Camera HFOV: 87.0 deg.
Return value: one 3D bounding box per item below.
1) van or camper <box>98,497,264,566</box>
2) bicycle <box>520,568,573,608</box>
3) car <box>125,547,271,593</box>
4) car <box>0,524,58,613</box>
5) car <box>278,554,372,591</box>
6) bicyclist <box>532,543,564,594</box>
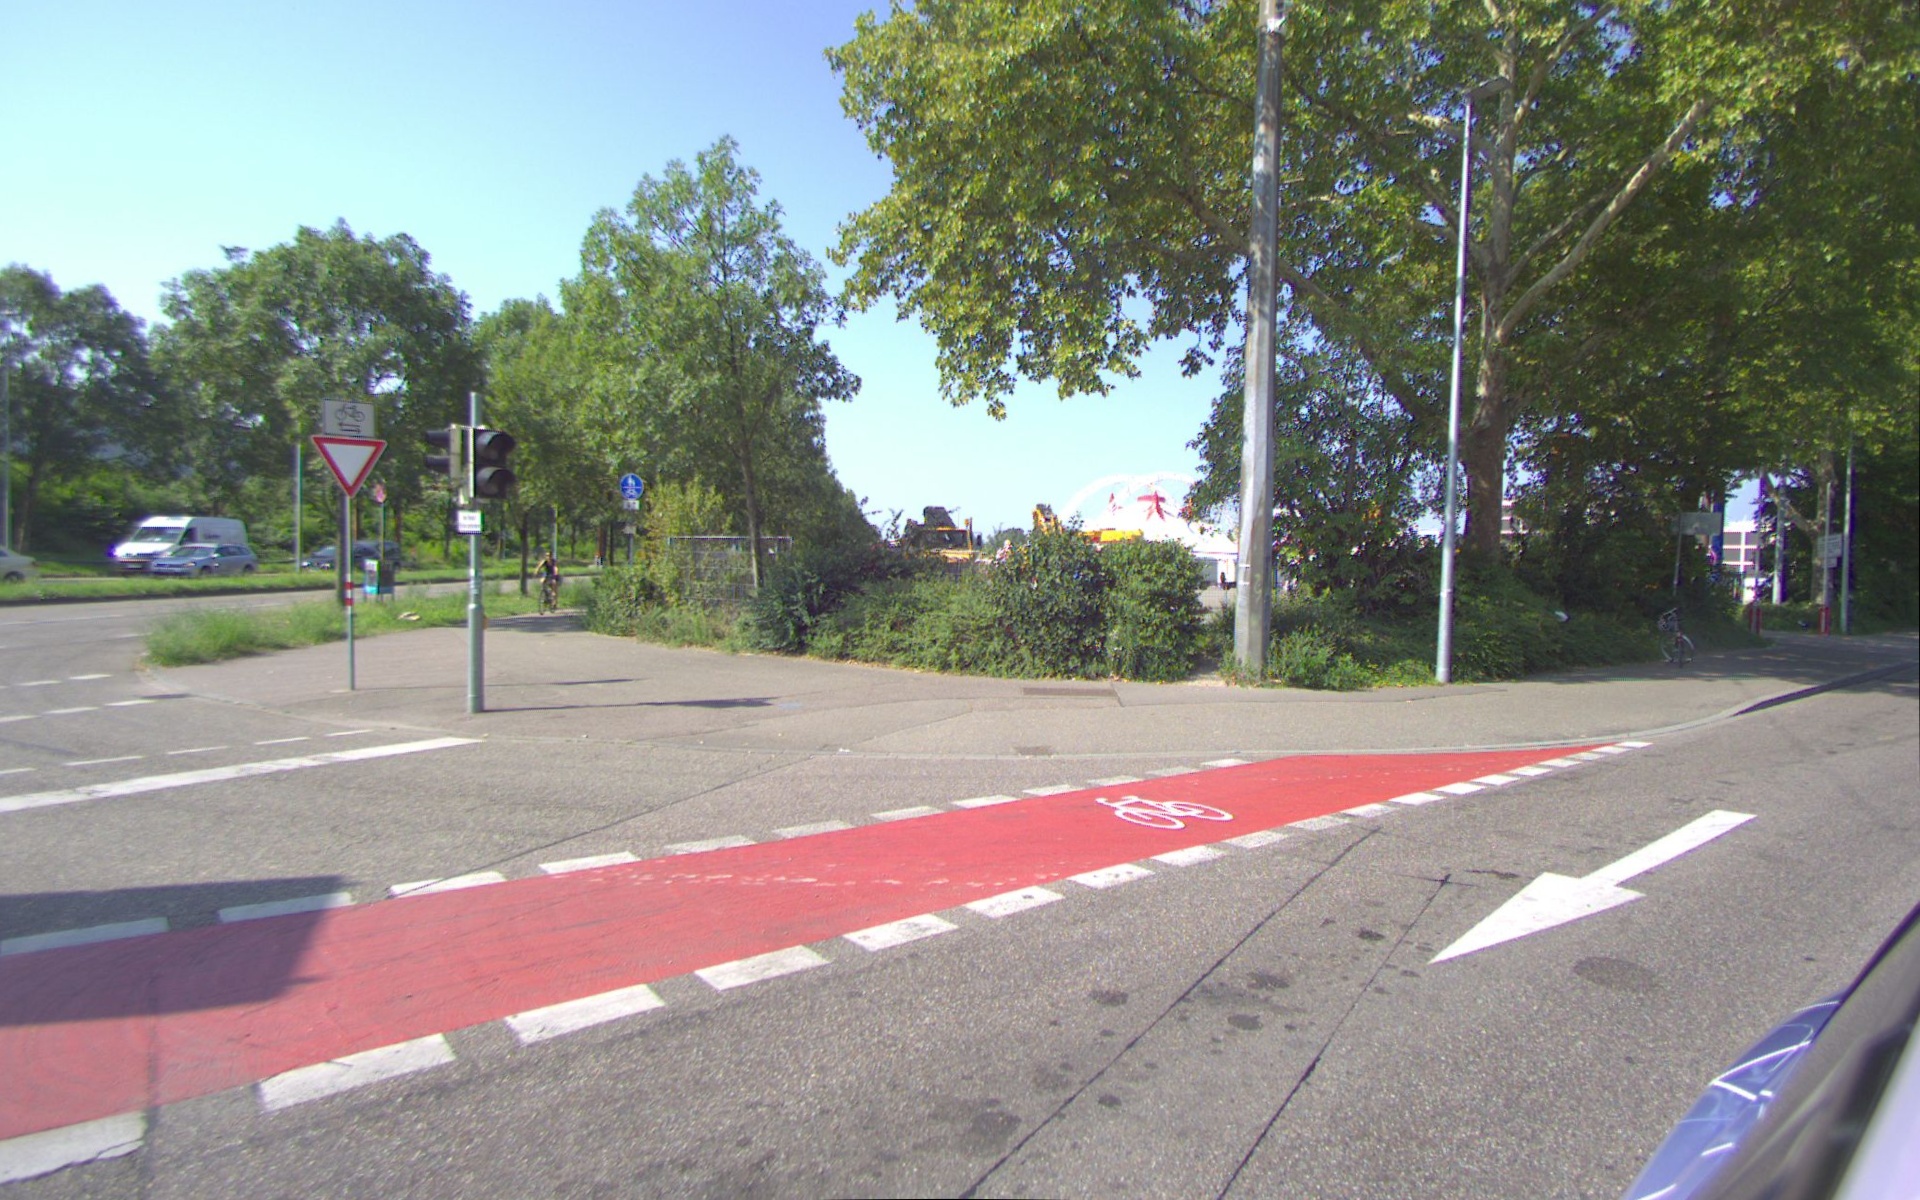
[{"bbox_3d":[-32.775,-2.792,42.966,2.205,2.514,6.871,0,0,-4],"label":"van or camper"},{"bbox_3d":[-11.395,-0.325,27.932,0.565,1.069,1.485,0,-1,17],"label":"bicycle"},{"bbox_3d":[-29.533,-1.122,39.456,2.124,1.629,4.977,0,0,-2],"label":"car"},{"bbox_3d":[-25.783,-0.813,25.181,2.206,2.290,5.226,0,0,-2],"label":"car"},{"bbox_3d":[-26.510,-1.113,42.414,1.625,1.416,3.755,0,-1,-1],"label":"car"},{"bbox_3d":[-11.390,-0.850,27.977,0.496,1.382,0.692,0,0,18],"label":"bicyclist"}]
